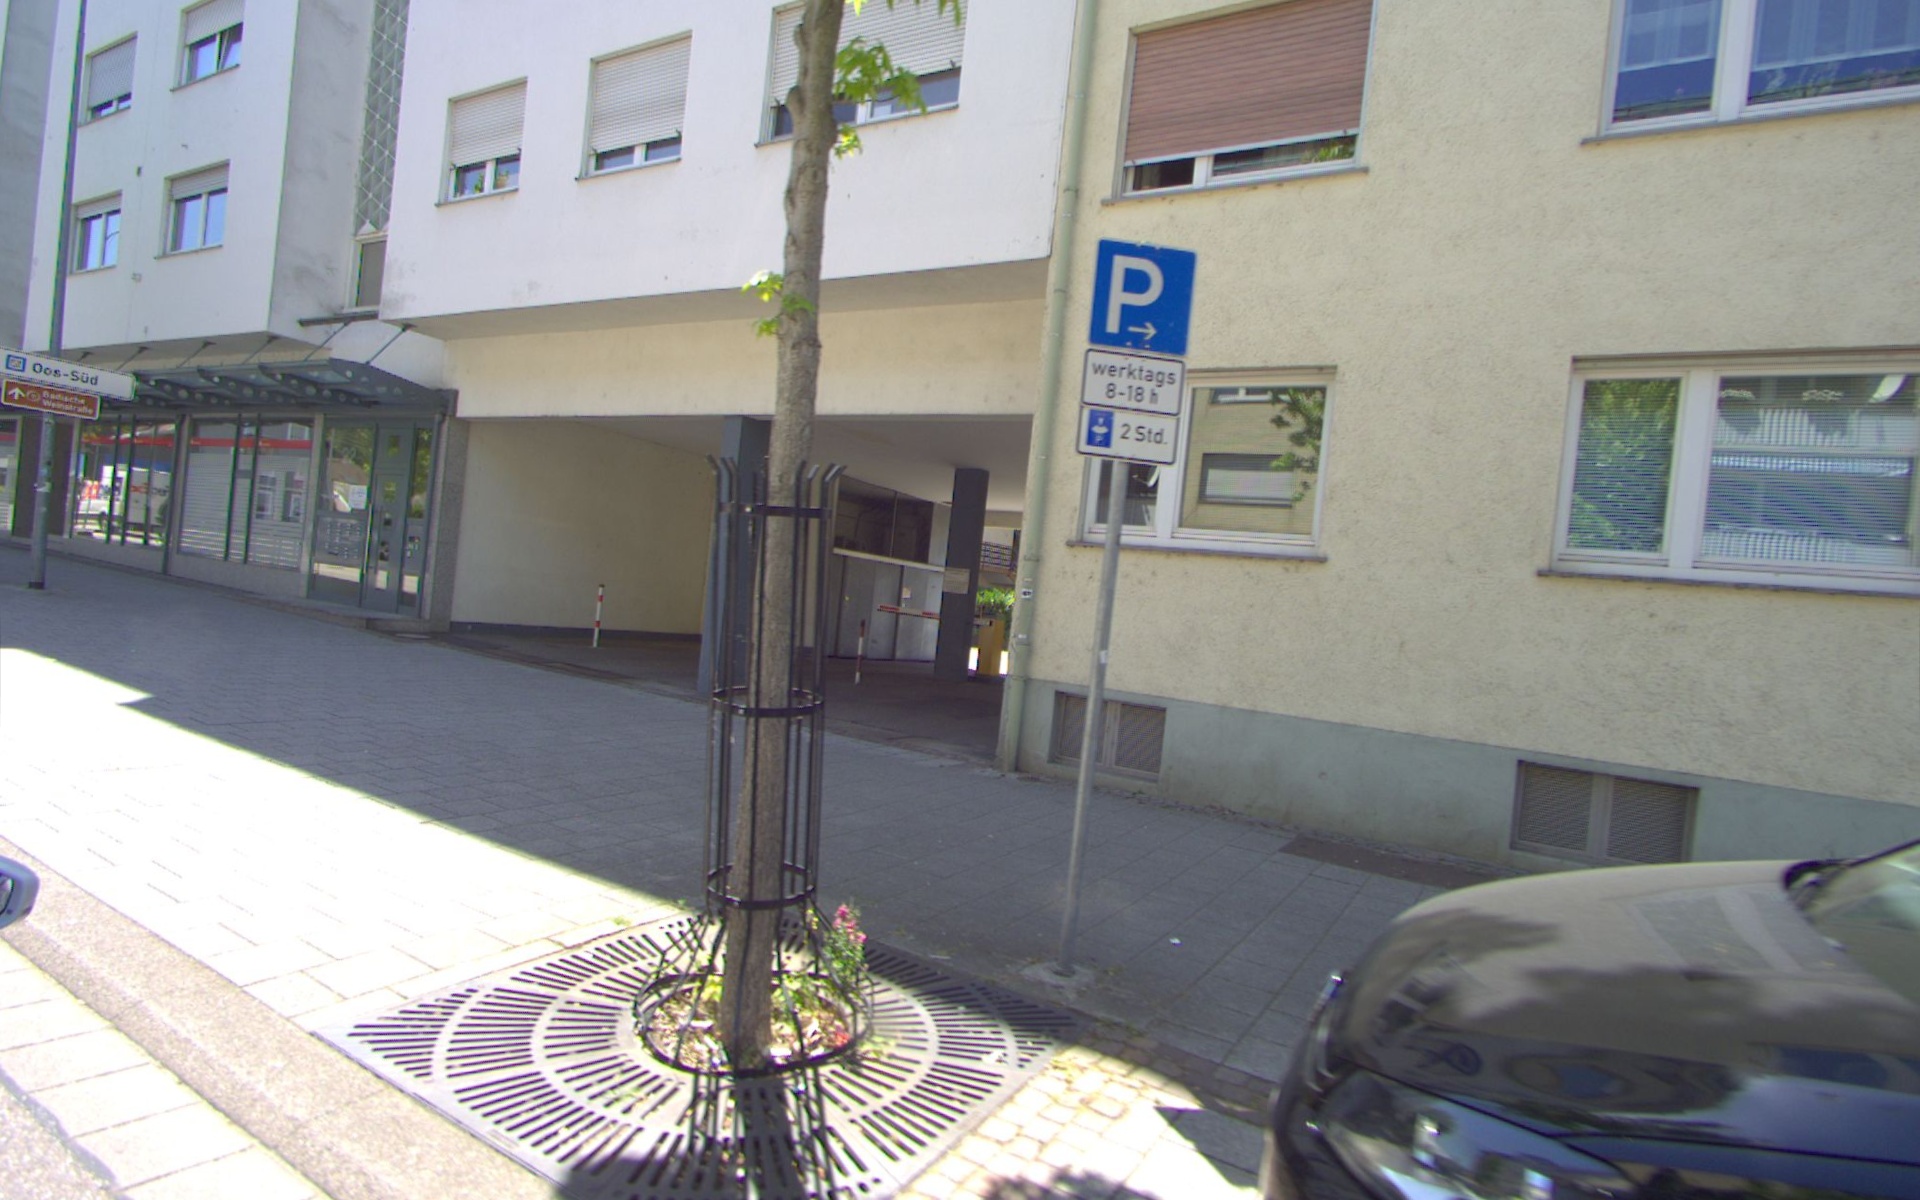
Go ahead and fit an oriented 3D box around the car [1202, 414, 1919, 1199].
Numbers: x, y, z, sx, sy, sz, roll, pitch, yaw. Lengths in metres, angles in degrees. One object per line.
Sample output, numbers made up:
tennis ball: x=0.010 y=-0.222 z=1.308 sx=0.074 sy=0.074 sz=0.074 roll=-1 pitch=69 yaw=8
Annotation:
car: x=2.455 y=0.850 z=1.164 sx=3.931 sy=1.745 sz=1.690 roll=7 pitch=3 yaw=28
